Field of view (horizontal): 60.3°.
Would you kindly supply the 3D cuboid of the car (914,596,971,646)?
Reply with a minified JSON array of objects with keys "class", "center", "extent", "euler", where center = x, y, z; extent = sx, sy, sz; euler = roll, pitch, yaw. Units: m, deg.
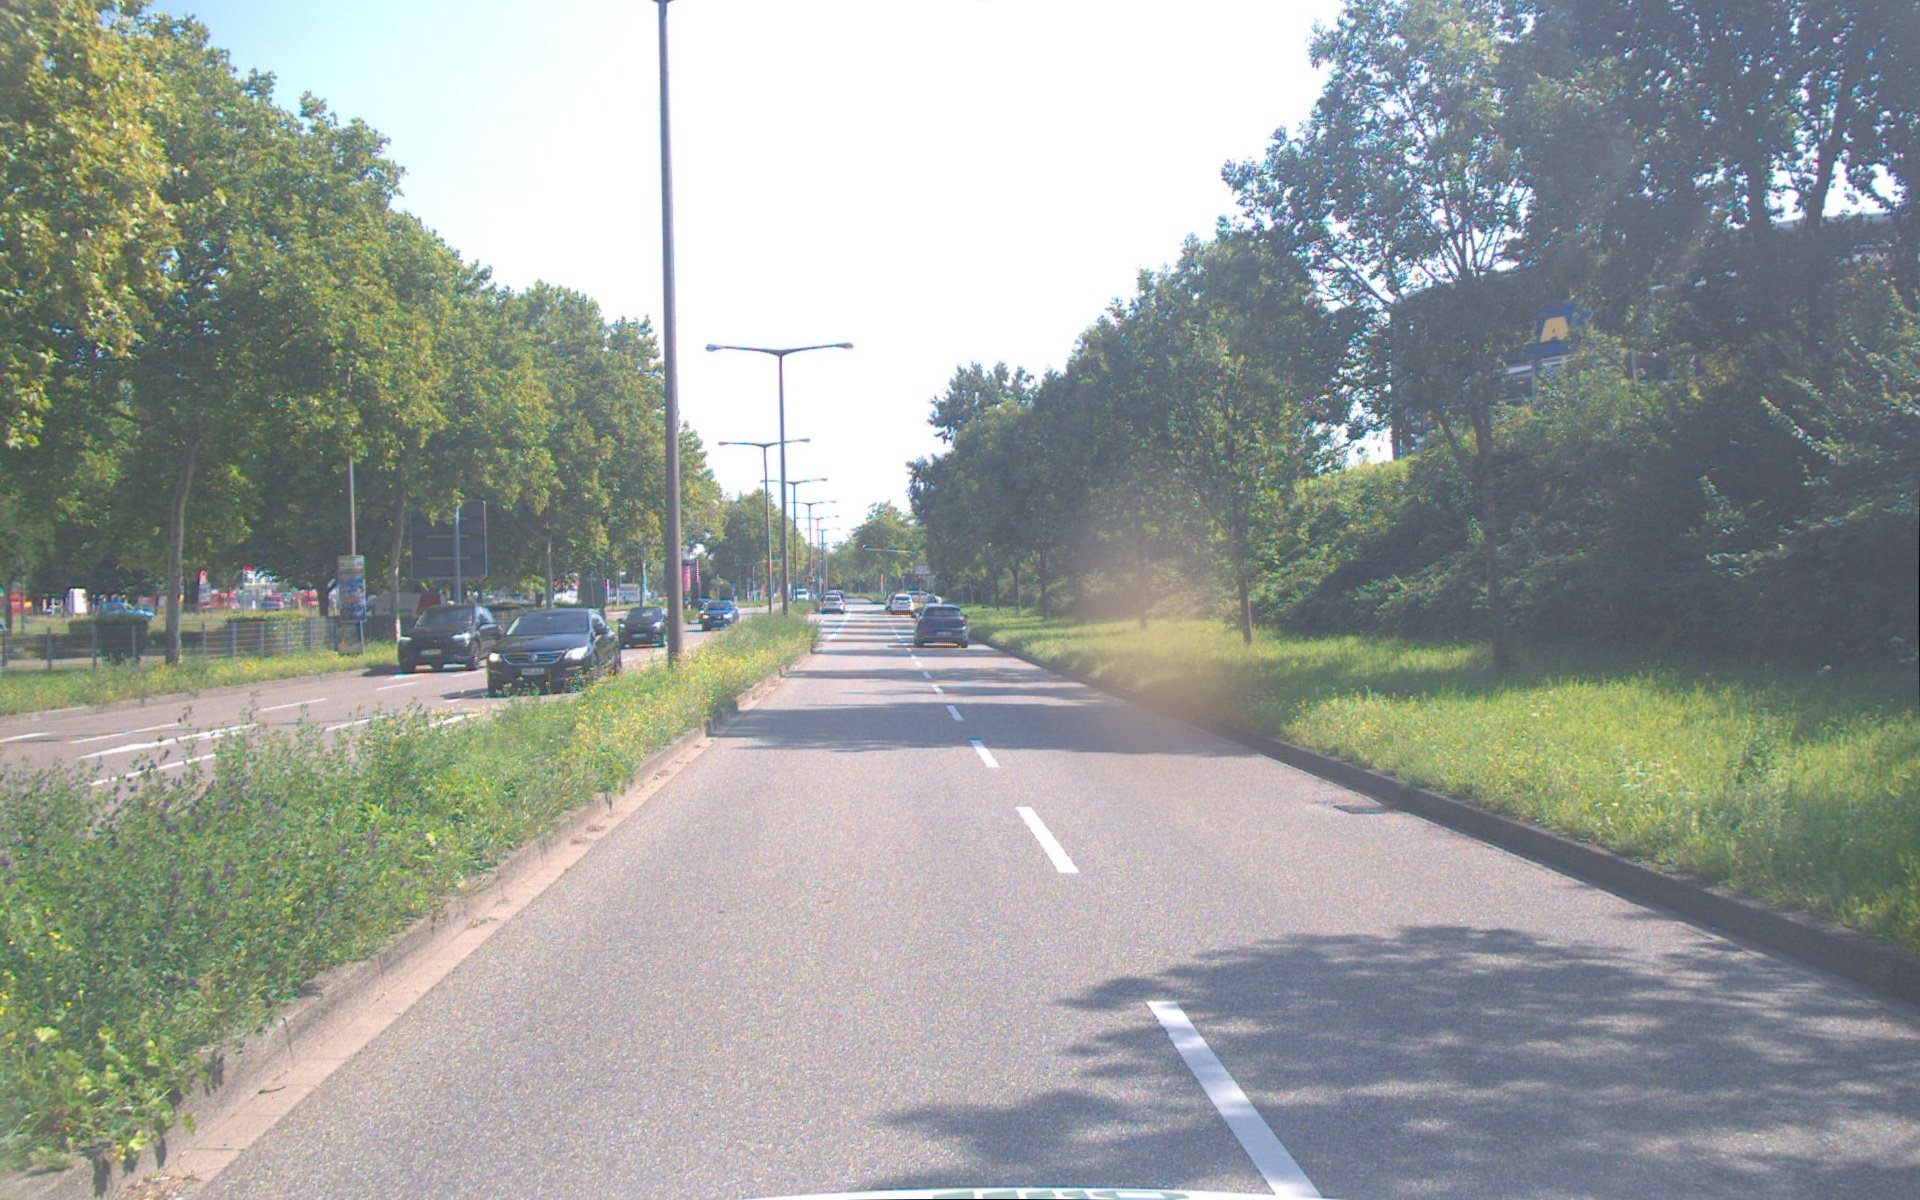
[{"class":"car","center":[-0.620,0.698,56.110],"extent":[1.745,1.452,3.999],"euler":[1,2,-3]}]

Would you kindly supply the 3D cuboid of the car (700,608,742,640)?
[{"class":"car","center":[-13.082,1.294,90.641],"extent":[1.955,1.612,4.341],"euler":[-2,0,-5]}]

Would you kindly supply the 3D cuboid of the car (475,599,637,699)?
[{"class":"car","center":[-6.951,0.786,28.916],"extent":[1.809,1.515,4.641],"euler":[-3,0,-3]}]

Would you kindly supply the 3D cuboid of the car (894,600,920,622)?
[{"class":"car","center":[-4.314,0.858,133.803],"extent":[1.954,1.683,3.997],"euler":[-2,0,-4]}]

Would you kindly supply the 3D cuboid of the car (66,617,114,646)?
[{"class":"car","center":[-52.960,1.901,100.652],"extent":[1.913,1.477,3.945],"euler":[-1,3,-39]}]

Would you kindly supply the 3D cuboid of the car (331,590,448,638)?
[{"class":"car","center":[-30.296,0.738,87.999],"extent":[5.475,2.377,2.277],"euler":[0,2,-5]}]

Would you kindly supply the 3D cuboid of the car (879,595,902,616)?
[{"class":"car","center":[-6.495,0.493,155.186],"extent":[1.955,1.682,3.997],"euler":[0,4,-5]}]

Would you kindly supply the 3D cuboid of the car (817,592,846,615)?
[{"class":"car","center":[-10.340,0.282,133.161],"extent":[1.953,1.731,3.999],"euler":[-2,0,-1]}]

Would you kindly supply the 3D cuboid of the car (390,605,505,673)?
[{"class":"car","center":[-13.121,0.963,42.632],"extent":[1.809,1.633,4.607],"euler":[0,0,-4]}]

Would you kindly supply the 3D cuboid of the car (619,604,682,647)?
[{"class":"car","center":[-11.360,0.913,61.001],"extent":[1.671,1.516,4.310],"euler":[-1,0,-3]}]
